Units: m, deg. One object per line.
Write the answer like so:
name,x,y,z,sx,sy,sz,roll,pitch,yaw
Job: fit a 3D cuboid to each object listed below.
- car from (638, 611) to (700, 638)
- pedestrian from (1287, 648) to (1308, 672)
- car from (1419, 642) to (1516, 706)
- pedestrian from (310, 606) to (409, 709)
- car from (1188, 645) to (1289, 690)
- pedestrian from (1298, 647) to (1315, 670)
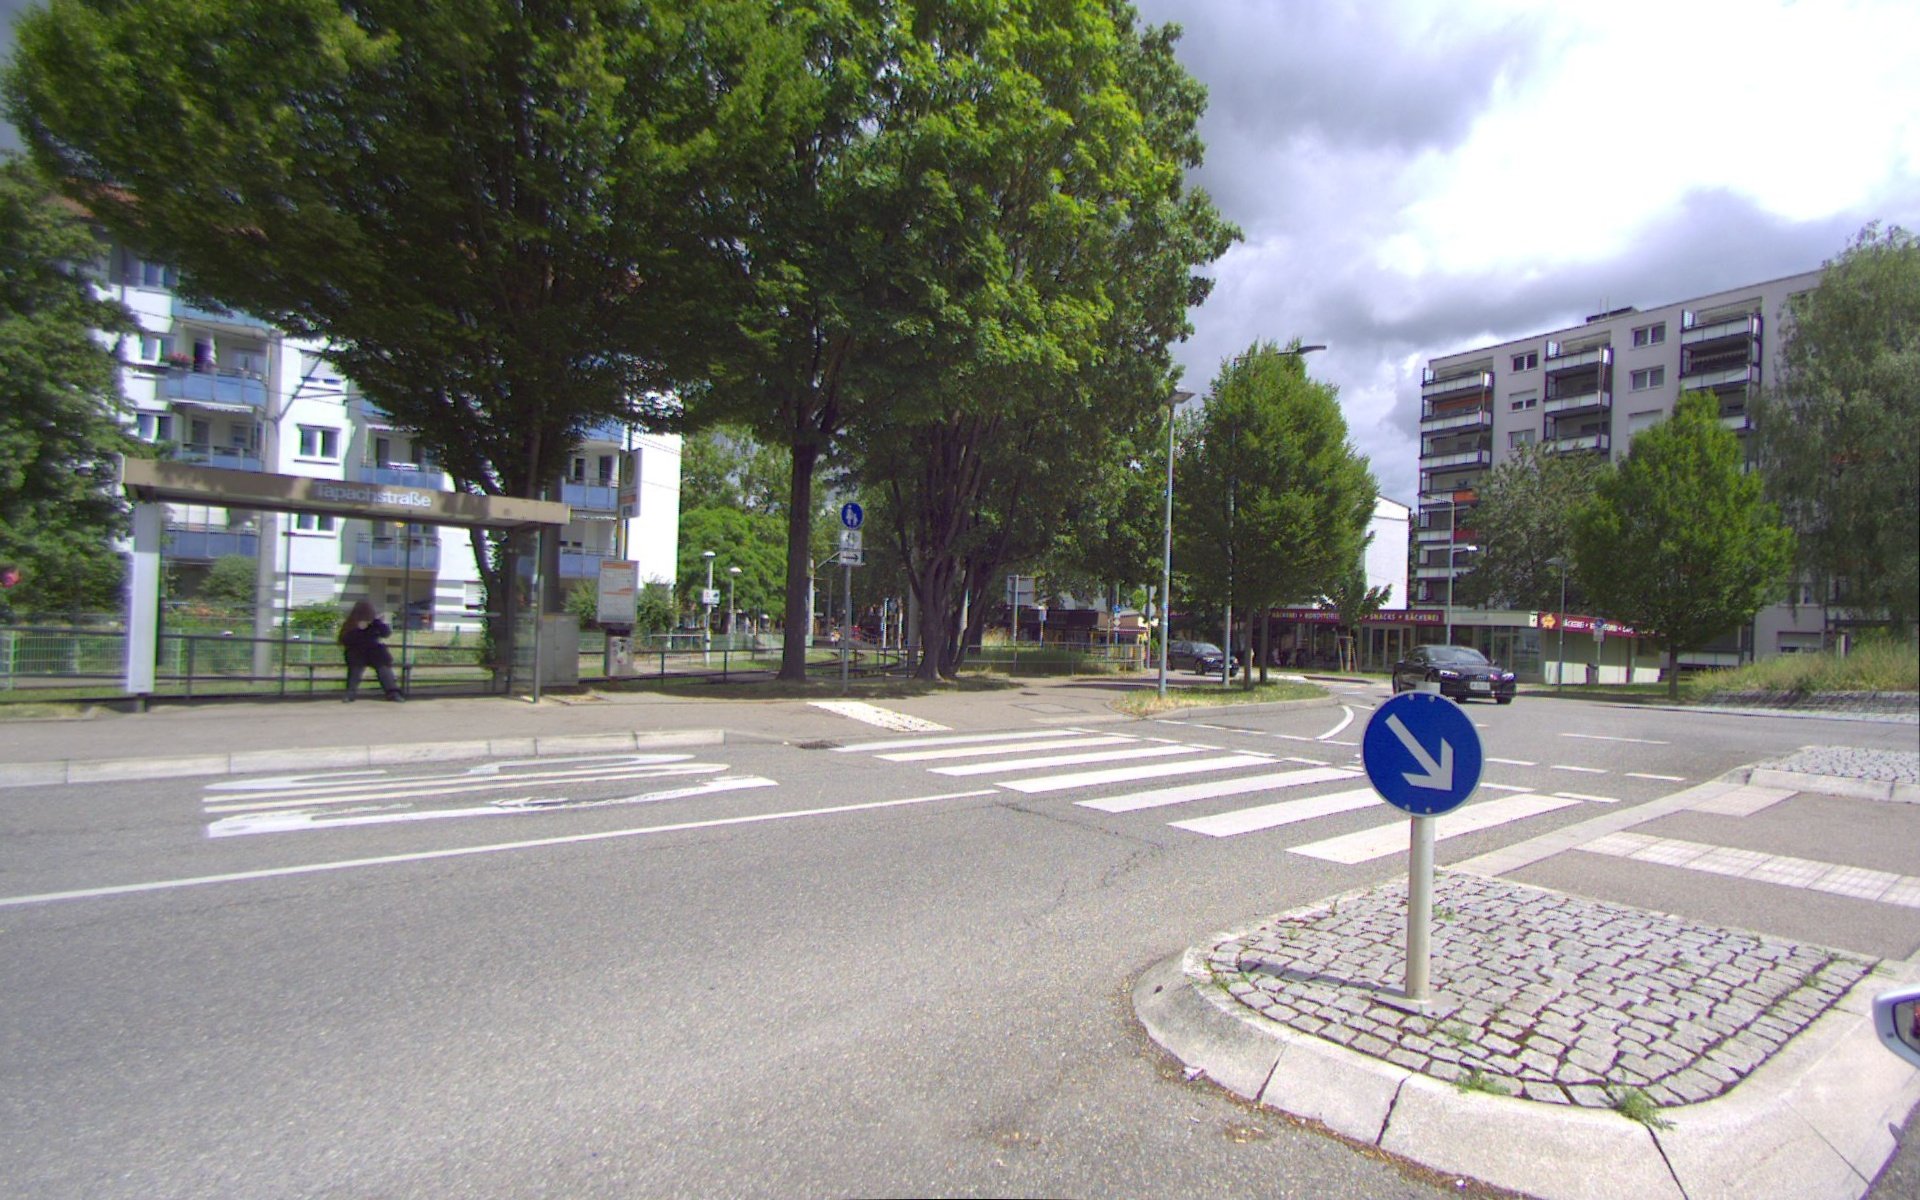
car,-20.681,1.753,71.315,3.946,1.832,1.988,2,-2,-25
pedestrian,20.512,3.643,61.064,0.870,1.342,0.816,2,0,-31
car,12.619,1.778,25.203,1.788,1.402,4.617,1,-2,22
pedestrian,-7.147,0.674,11.954,0.903,1.150,0.792,2,-1,-37
car,11.293,2.723,41.074,1.830,1.474,4.369,3,0,-19
pedestrian,21.217,3.579,61.546,0.710,1.399,0.695,2,-2,-24
